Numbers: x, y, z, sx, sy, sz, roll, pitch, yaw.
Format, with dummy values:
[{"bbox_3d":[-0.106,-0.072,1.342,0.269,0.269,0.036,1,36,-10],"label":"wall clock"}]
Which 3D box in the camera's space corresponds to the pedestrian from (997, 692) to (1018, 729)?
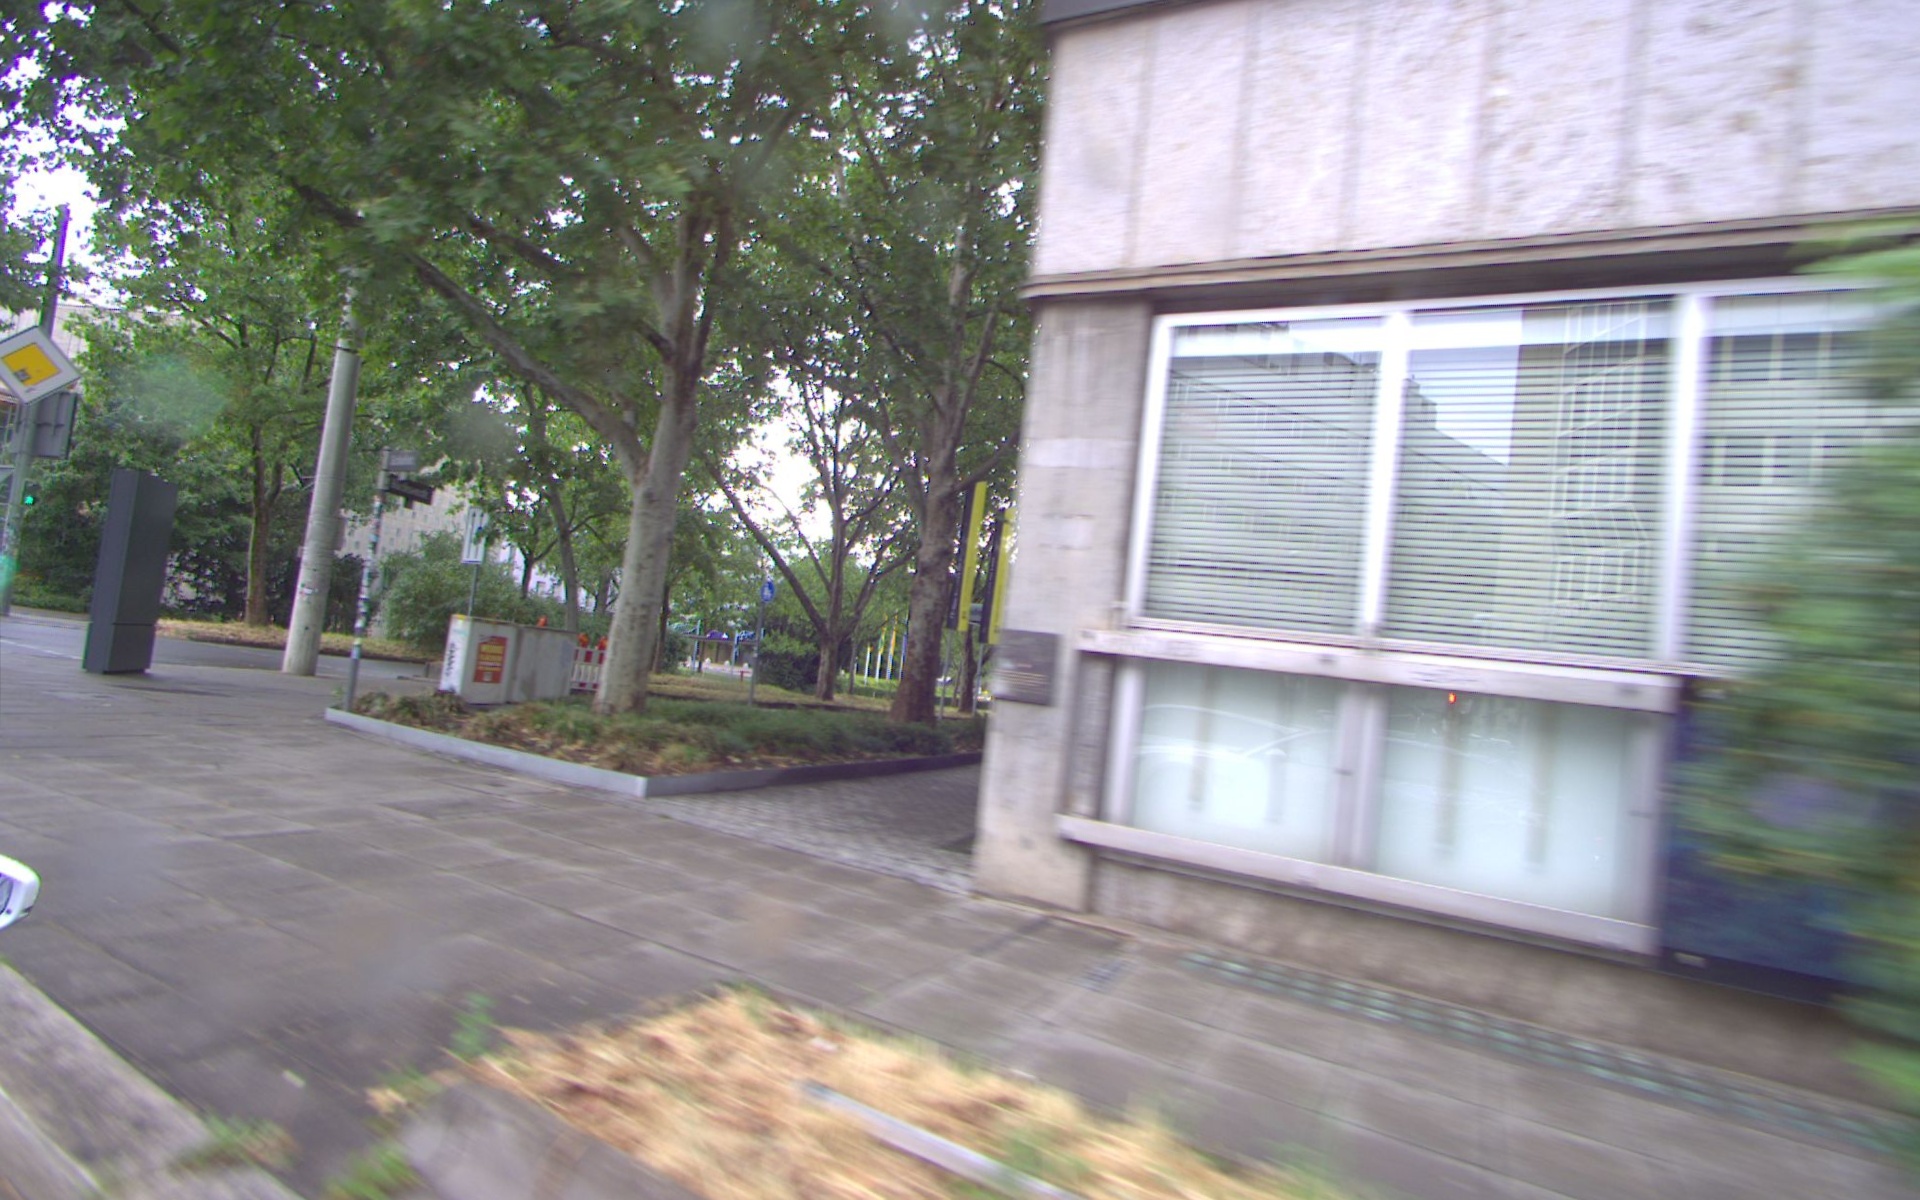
[{"bbox_3d":[2.219,5.113,46.495,0.512,1.655,0.936,6,-4,21],"label":"pedestrian"}]
